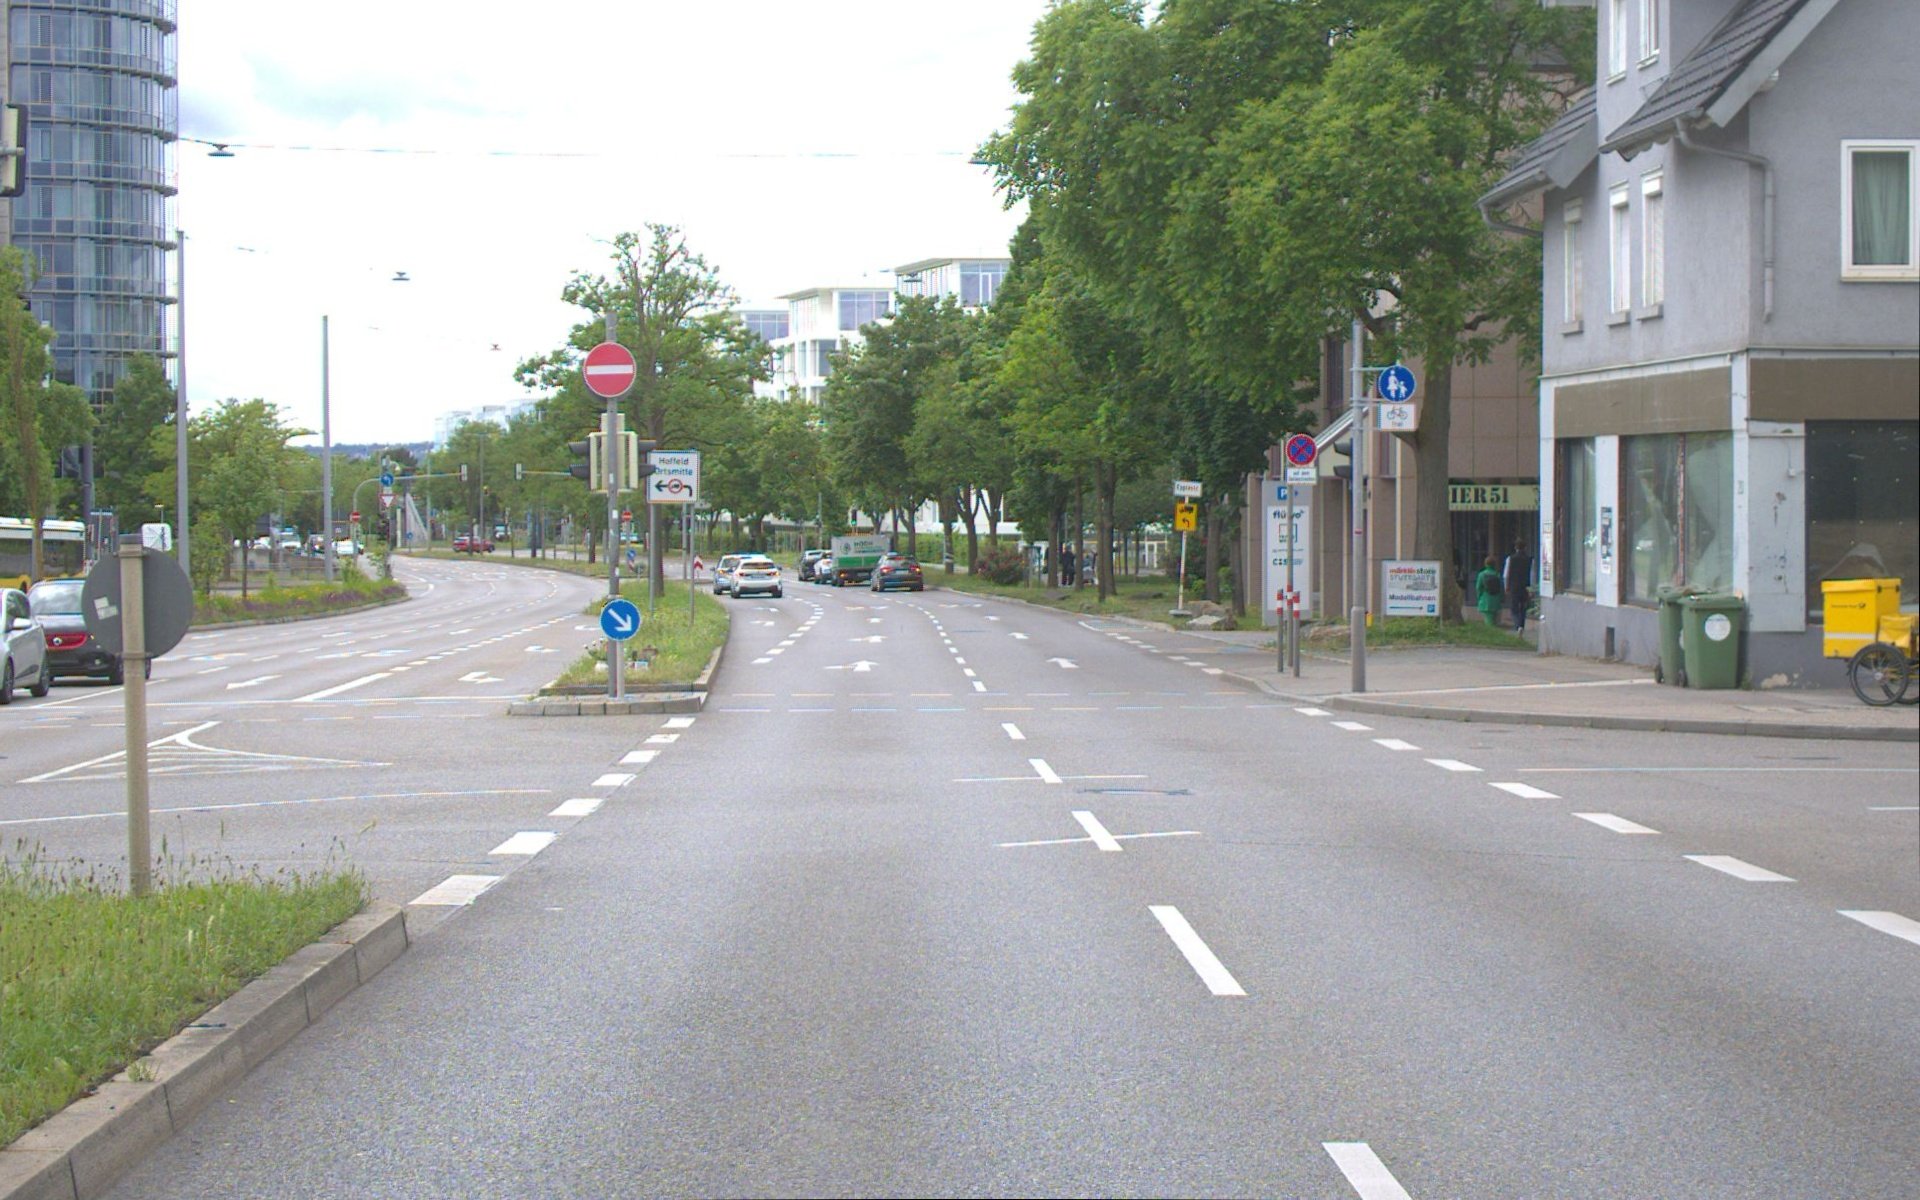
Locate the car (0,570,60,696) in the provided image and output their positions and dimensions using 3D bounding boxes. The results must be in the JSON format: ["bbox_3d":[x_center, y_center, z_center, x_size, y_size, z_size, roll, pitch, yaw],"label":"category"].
[{"bbox_3d":[-12.718,0.389,43.814,1.745,1.460,3.791,0,2,-4],"label":"car"}]

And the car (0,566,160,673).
[{"bbox_3d":[-12.835,0.263,50.284,1.658,1.503,3.769,0,0,-5],"label":"car"}]

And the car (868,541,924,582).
[{"bbox_3d":[-2.518,-1.516,133.986,1.993,1.590,4.001,0,1,-4],"label":"car"}]

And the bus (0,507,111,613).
[{"bbox_3d":[-31.657,-1.404,117.401,3.031,3.444,9.912,1,1,-2],"label":"bus"}]

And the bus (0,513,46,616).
[{"bbox_3d":[-31.153,-1.142,107.055,3.083,3.152,10.739,1,1,-4],"label":"bus"}]

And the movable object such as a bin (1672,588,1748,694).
[{"bbox_3d":[7.976,0.430,36.588,0.626,1.100,0.710,0,1,-2],"label":"movable object such as a bin"}]

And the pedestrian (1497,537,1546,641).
[{"bbox_3d":[9.987,-0.205,61.170,0.657,1.820,0.843,-2,1,-1],"label":"pedestrian"}]

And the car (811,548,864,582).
[{"bbox_3d":[-5.626,-1.620,157.600,1.993,1.503,4.001,-1,1,-9],"label":"car"}]

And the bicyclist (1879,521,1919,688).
[{"bbox_3d":[9.602,0.043,33.406,0.937,1.593,0.961,2,2,43],"label":"bicyclist"}]

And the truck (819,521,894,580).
[{"bbox_3d":[-4.538,-2.162,150.240,2.859,2.511,6.288,0,0,-5],"label":"truck"}]

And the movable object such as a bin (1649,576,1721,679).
[{"bbox_3d":[7.892,0.294,37.435,0.608,1.100,0.710,0,1,-2],"label":"movable object such as a bin"}]

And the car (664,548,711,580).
[{"bbox_3d":[-13.146,-1.744,165.854,1.993,1.503,4.000,0,0,-1],"label":"car"}]

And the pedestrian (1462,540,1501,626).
[{"bbox_3d":[9.542,-0.313,62.930,0.561,1.544,0.544,-2,1,-1],"label":"pedestrian"}]

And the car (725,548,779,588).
[{"bbox_3d":[-7.742,-1.191,127.815,1.863,1.444,4.001,0,0,-6],"label":"car"}]

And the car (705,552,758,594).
[{"bbox_3d":[-9.180,-1.087,137.977,1.993,1.666,4.001,0,0,-5],"label":"car"}]

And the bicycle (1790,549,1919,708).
[{"bbox_3d":[9.545,0.281,33.428,2.682,1.503,0.961,2,2,37],"label":"bicycle"}]
